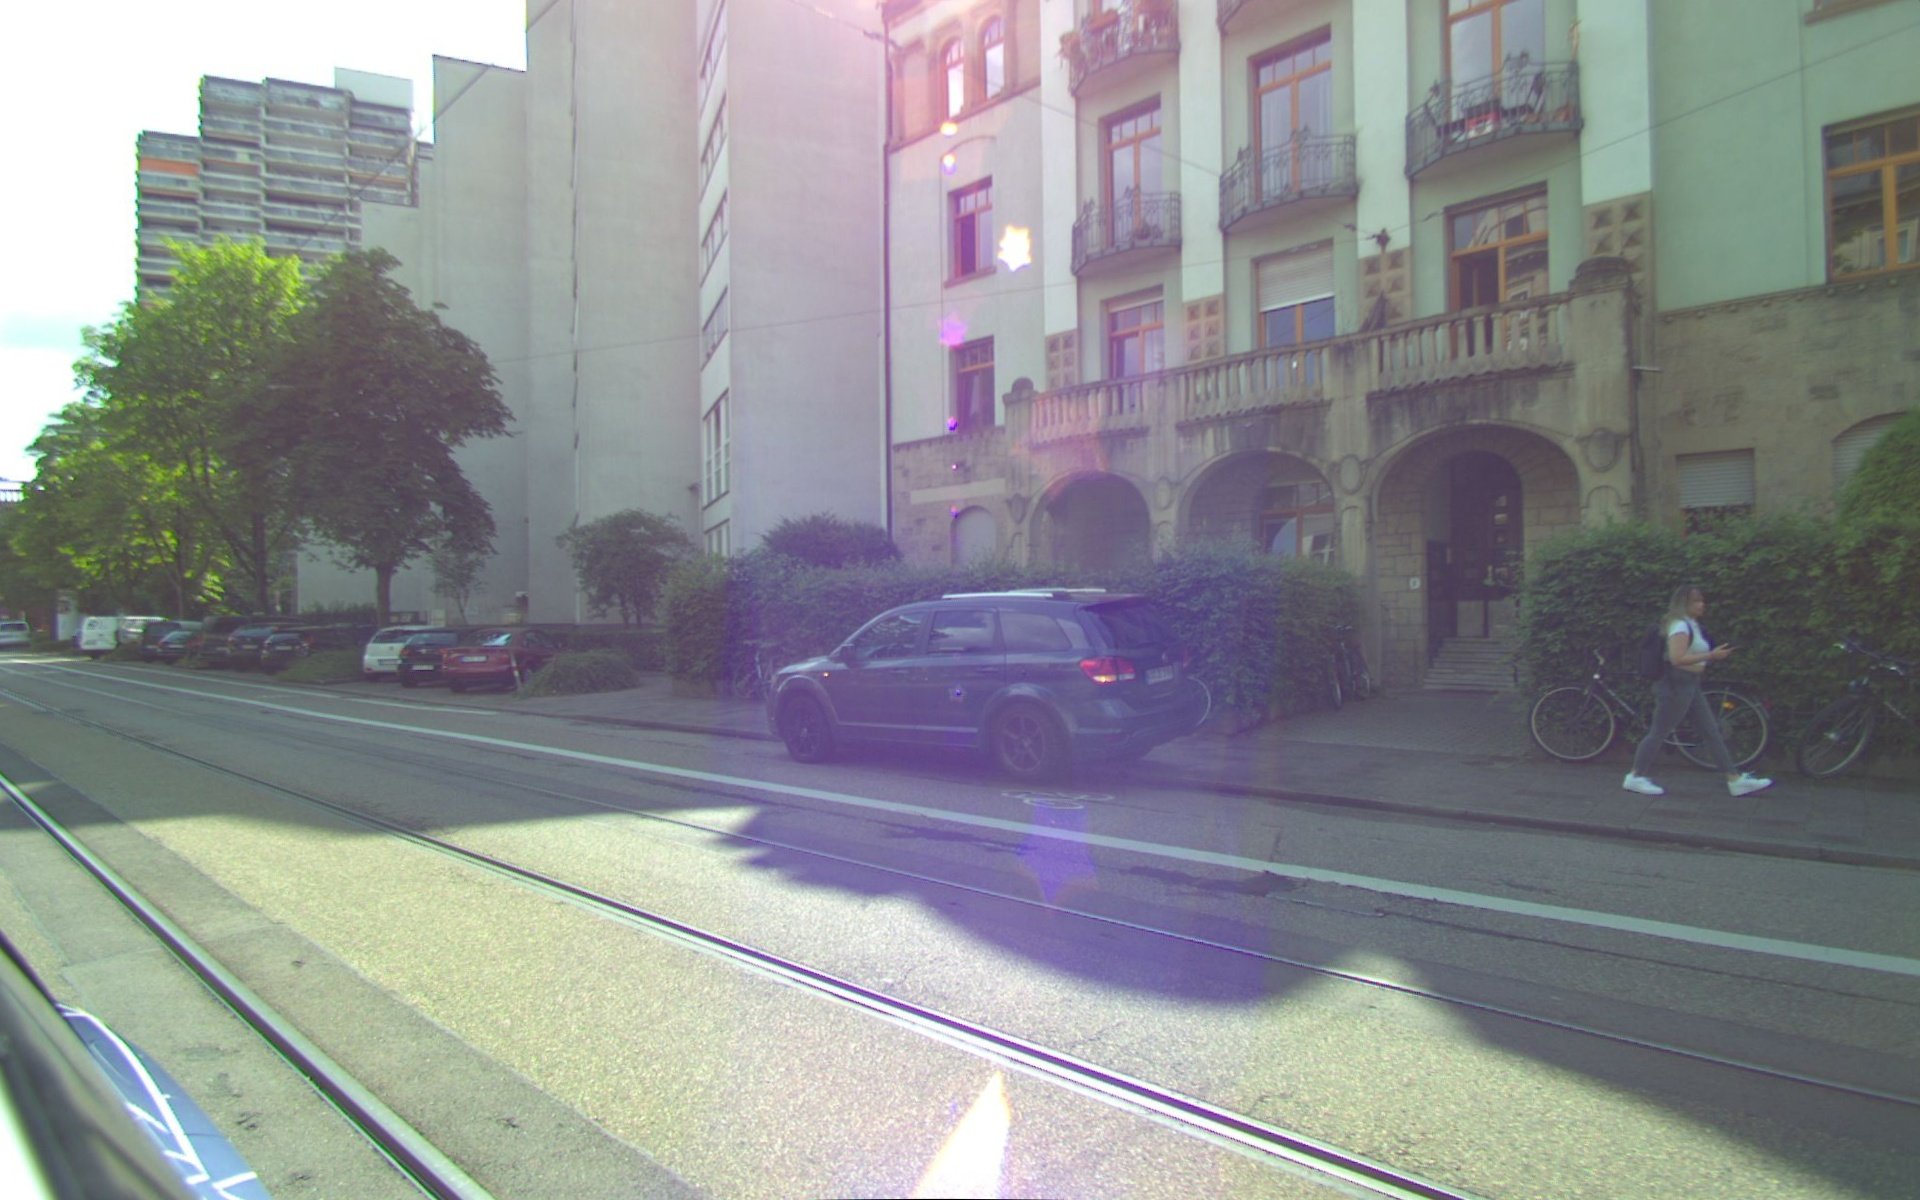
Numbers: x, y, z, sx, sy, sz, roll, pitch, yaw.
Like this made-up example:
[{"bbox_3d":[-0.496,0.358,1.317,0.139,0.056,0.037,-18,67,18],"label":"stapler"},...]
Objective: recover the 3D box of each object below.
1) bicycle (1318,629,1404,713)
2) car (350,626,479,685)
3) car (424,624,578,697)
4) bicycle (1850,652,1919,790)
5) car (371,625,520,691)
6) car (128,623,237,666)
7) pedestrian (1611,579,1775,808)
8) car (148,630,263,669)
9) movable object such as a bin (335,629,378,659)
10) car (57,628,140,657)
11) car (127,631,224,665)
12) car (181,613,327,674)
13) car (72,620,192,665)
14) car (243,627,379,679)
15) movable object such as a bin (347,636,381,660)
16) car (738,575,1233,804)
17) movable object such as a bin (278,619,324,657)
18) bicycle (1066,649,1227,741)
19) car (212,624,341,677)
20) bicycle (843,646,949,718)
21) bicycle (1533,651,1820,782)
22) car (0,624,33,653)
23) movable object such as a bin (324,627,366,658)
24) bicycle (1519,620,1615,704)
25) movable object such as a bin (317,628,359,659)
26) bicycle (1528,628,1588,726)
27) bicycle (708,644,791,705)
[{"bbox_3d":[5.353,0.914,13.447,0.384,0.966,1.894,-2,0,42],"label":"bicycle"},{"bbox_3d":[-14.853,1.518,27.776,1.672,1.495,3.810,1,-3,-4],"label":"car"},{"bbox_3d":[-10.396,1.369,23.258,1.820,1.495,3.971,1,-3,-2],"label":"car"},{"bbox_3d":[7.449,0.866,7.078,1.800,0.966,0.446,-2,0,41],"label":"bicycle"},{"bbox_3d":[-12.717,1.434,25.303,1.675,1.495,3.805,1,-3,2],"label":"car"},{"bbox_3d":[-32.460,1.888,42.367,1.735,1.706,3.717,1,-3,-2],"label":"car"},{"bbox_3d":[5.470,0.647,7.557,0.882,1.580,0.672,-2,0,44],"label":"pedestrian"},{"bbox_3d":[-29.739,1.950,40.038,1.734,1.428,4.004,1,-3,-5],"label":"car"},{"bbox_3d":[-26.552,1.943,44.547,1.441,1.293,1.156,-1,-4,40],"label":"movable object such as a bin"},{"bbox_3d":[-49.495,2.428,58.251,1.716,1.535,3.890,-1,-1,-5],"label":"car"},{"bbox_3d":[-34.862,2.148,45.109,1.694,1.428,4.008,1,-3,-10],"label":"car"},{"bbox_3d":[-25.027,1.569,36.149,1.887,1.969,5.173,1,-3,-5],"label":"car"},{"bbox_3d":[-39.692,2.008,48.684,1.941,2.012,4.686,-1,-2,-1],"label":"car"},{"bbox_3d":[-20.199,1.669,31.718,1.716,1.495,4.000,1,-3,-1],"label":"car"},{"bbox_3d":[-25.712,2.069,43.675,0.934,0.994,0.954,-1,-4,40],"label":"movable object such as a bin"},{"bbox_3d":[0.042,0.762,10.078,4.878,1.776,1.767,-2,-2,39],"label":"car"},{"bbox_3d":[-32.711,1.887,50.238,1.537,1.795,1.374,-1,-4,37],"label":"movable object such as a bin"},{"bbox_3d":[2.136,1.068,11.810,1.921,0.966,0.378,-2,0,43],"label":"bicycle"},{"bbox_3d":[-22.648,1.683,33.716,1.715,1.605,4.002,1,-3,-3],"label":"car"},{"bbox_3d":[-0.949,1.167,14.704,1.810,0.966,0.378,-2,0,43],"label":"bicycle"},{"bbox_3d":[5.960,0.929,8.523,1.921,0.966,0.378,-2,0,43],"label":"bicycle"},{"bbox_3d":[-65.560,2.653,69.650,4.230,1.865,1.869,-1,1,38],"label":"car"},{"bbox_3d":[-27.662,1.931,45.512,1.441,1.337,1.152,-1,-4,40],"label":"movable object such as a bin"},{"bbox_3d":[8.023,0.802,13.363,1.374,0.998,0.395,-2,1,-27],"label":"bicycle"},{"bbox_3d":[-28.898,2.030,46.996,1.440,1.391,1.181,-1,-4,38],"label":"movable object such as a bin"},{"bbox_3d":[6.975,0.866,11.778,0.393,0.998,1.380,-1,1,39],"label":"bicycle"},{"bbox_3d":[-3.565,1.235,17.071,1.810,0.966,0.378,-2,0,43],"label":"bicycle"}]
